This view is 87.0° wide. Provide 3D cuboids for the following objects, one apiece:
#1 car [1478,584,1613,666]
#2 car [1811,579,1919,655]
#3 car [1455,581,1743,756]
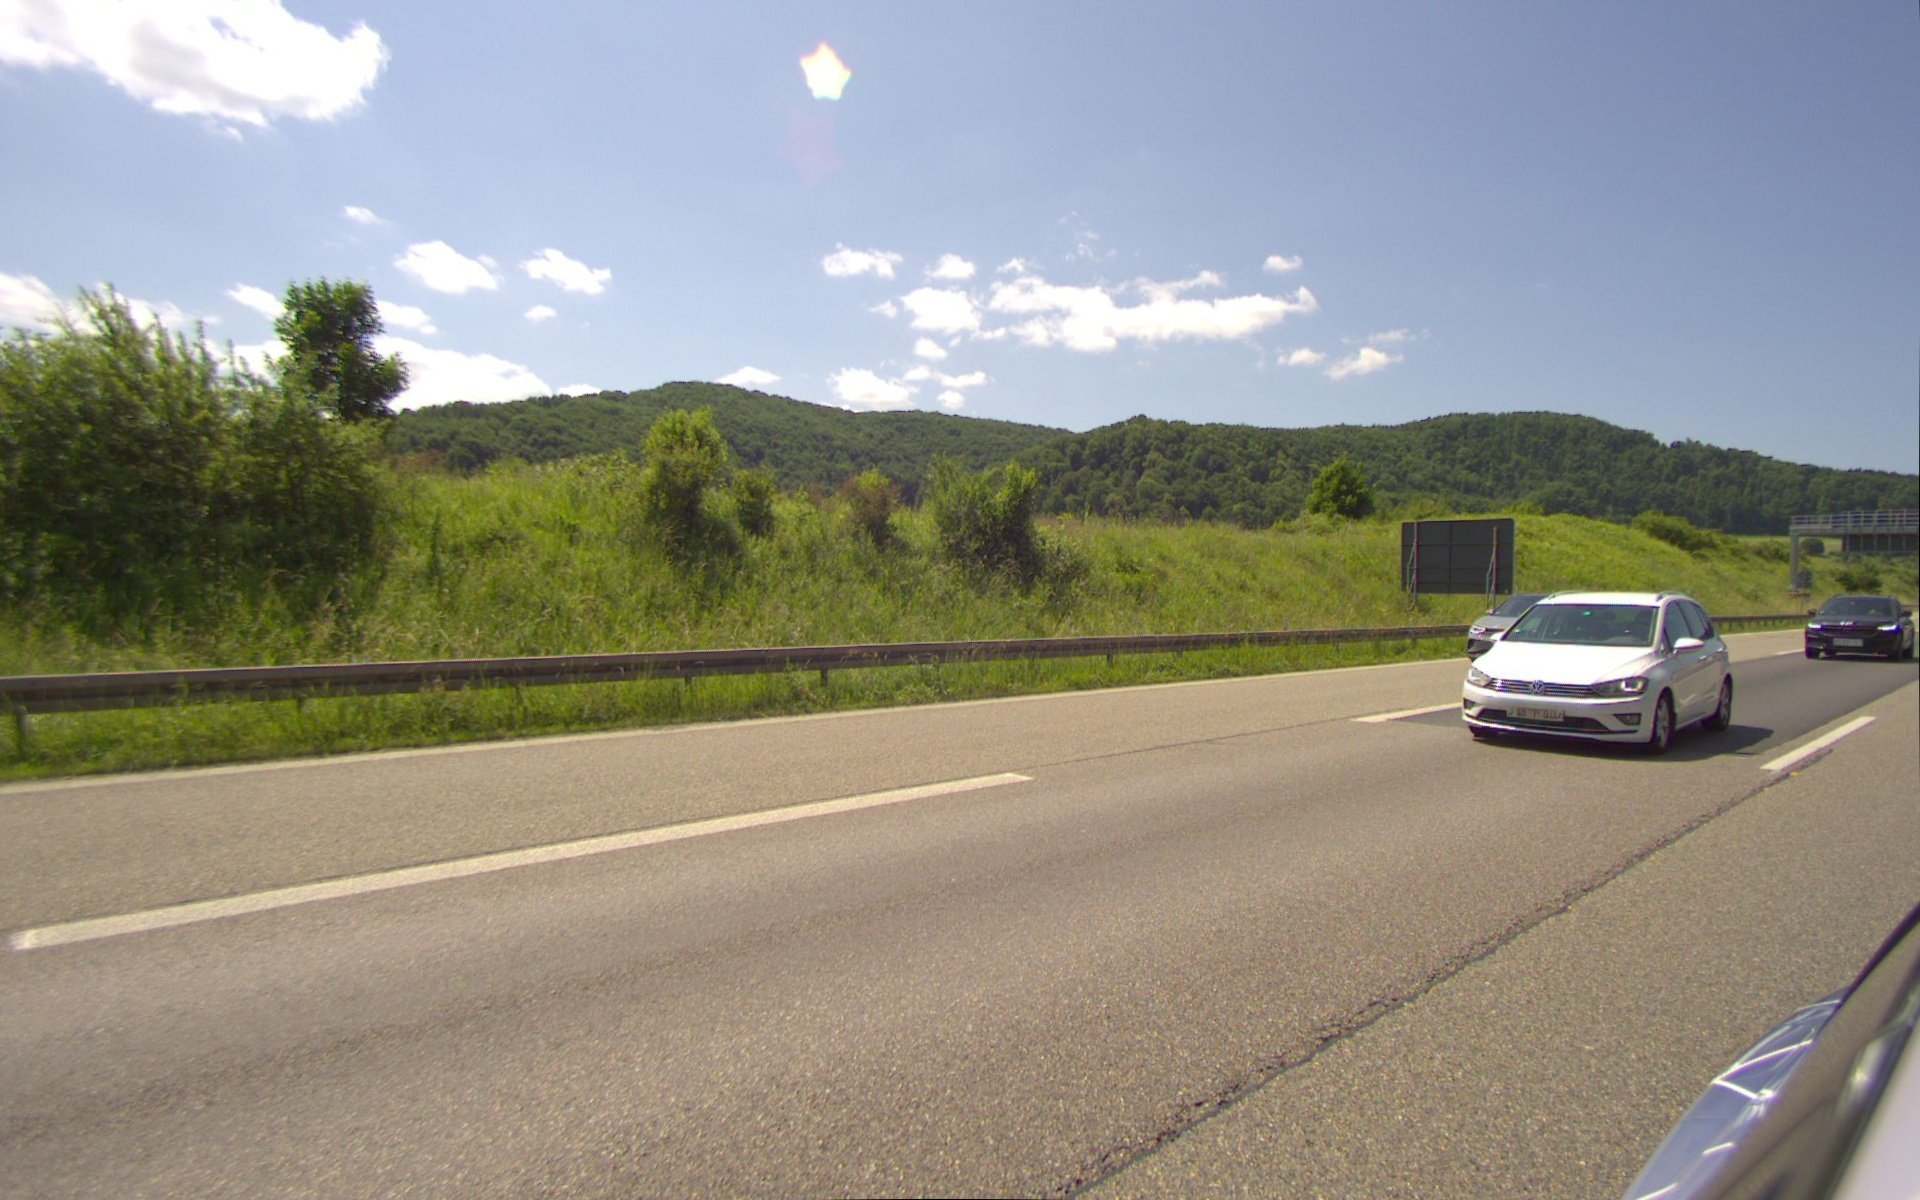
[{"bbox_3d":[12.750,0.473,21.920,1.679,1.615,4.183,0,0,43],"label":"car"},{"bbox_3d":[23.565,0.389,26.032,4.097,1.794,1.893,0,1,-40],"label":"car"},{"bbox_3d":[7.097,0.596,11.078,3.987,1.560,1.774,0,0,-44],"label":"car"}]
